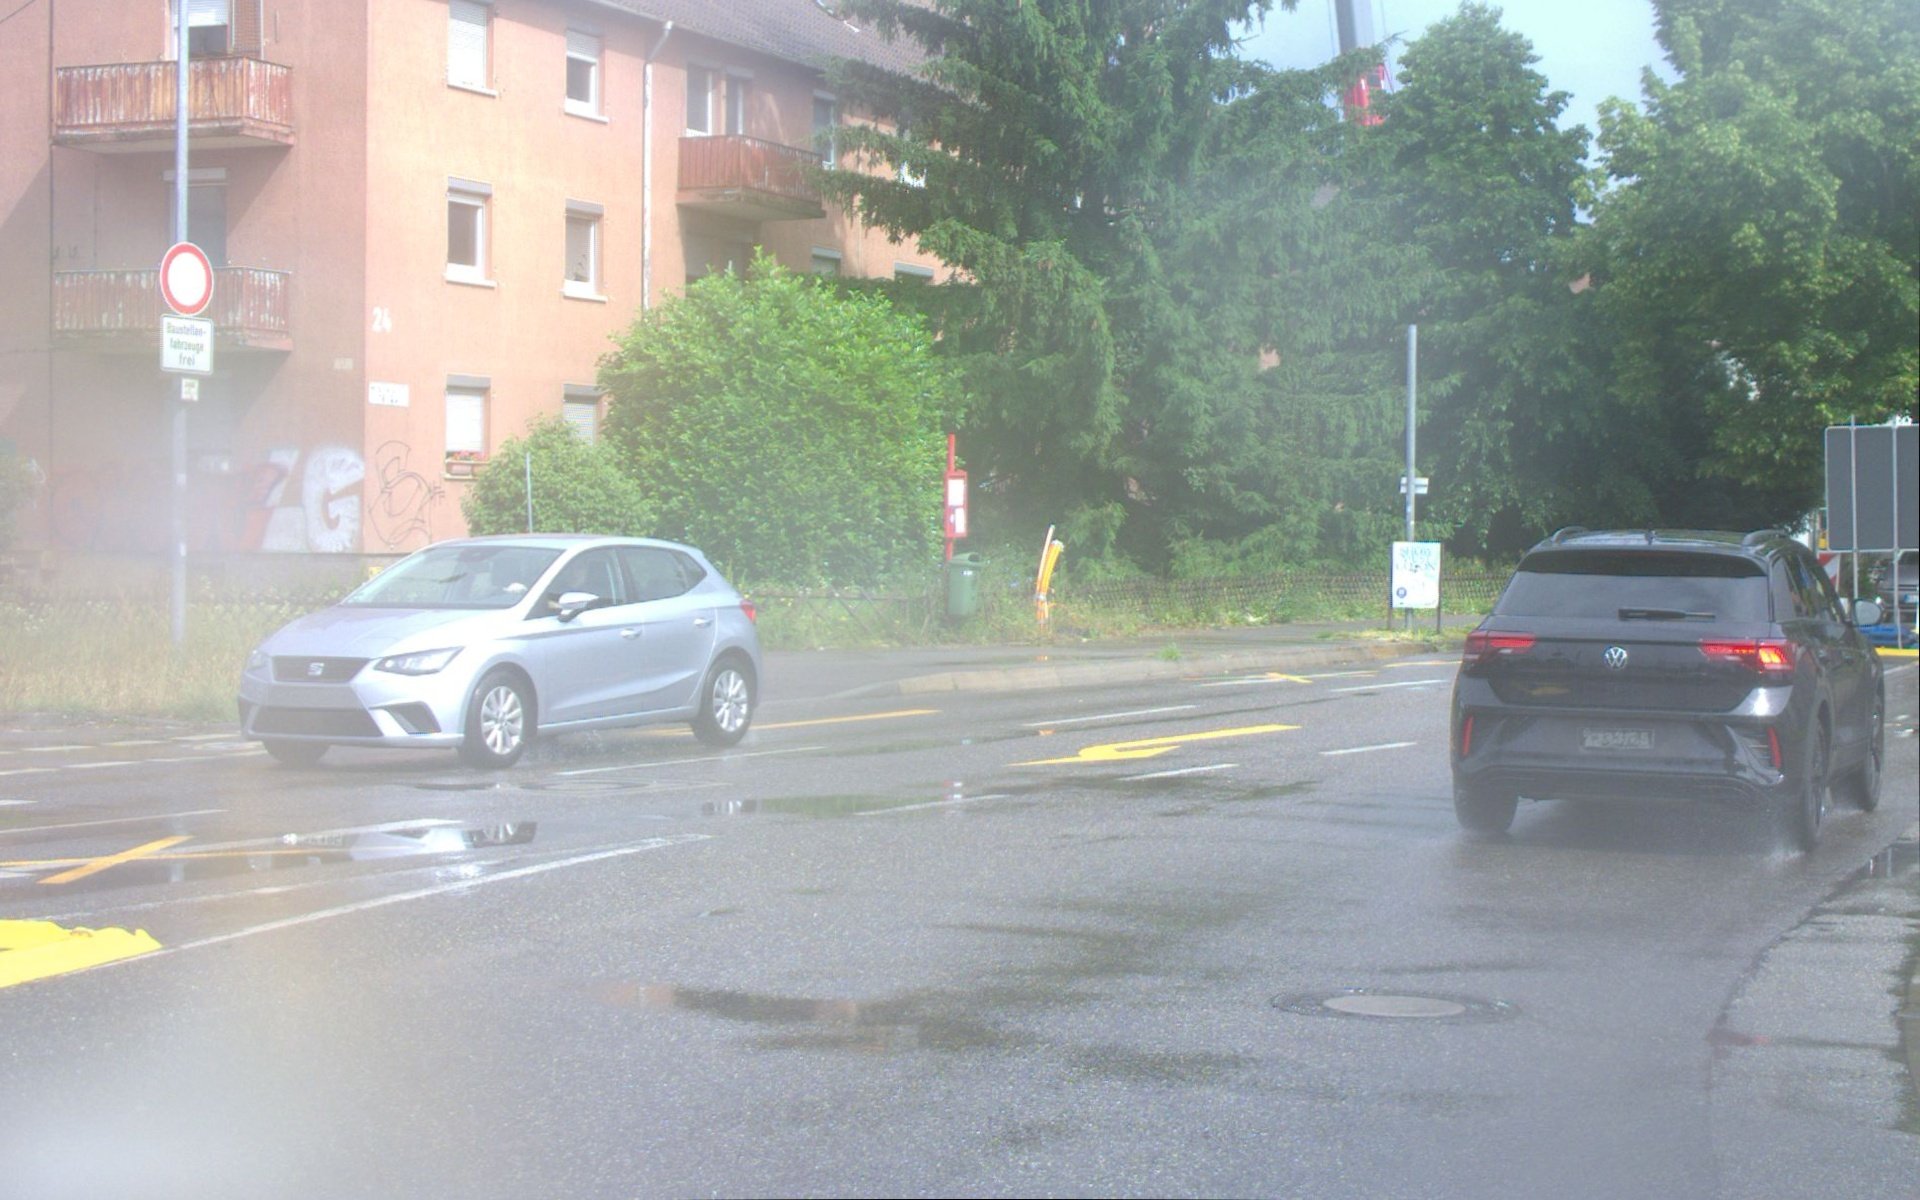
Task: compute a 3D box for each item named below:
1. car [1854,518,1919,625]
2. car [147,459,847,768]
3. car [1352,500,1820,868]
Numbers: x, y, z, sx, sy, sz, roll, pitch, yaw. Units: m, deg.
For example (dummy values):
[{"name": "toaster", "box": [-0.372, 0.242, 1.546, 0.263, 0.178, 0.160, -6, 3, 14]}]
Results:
[{"name": "car", "box": [16.998, -0.505, 59.804, 2.077, 1.726, 4.693, 3, 3, 23]}, {"name": "car", "box": [-2.892, 0.017, 22.601, 2.079, 1.726, 4.691, 4, 3, 30]}, {"name": "car", "box": [3.396, 0.326, 18.053, 1.899, 1.612, 3.997, 3, 3, 17]}]
